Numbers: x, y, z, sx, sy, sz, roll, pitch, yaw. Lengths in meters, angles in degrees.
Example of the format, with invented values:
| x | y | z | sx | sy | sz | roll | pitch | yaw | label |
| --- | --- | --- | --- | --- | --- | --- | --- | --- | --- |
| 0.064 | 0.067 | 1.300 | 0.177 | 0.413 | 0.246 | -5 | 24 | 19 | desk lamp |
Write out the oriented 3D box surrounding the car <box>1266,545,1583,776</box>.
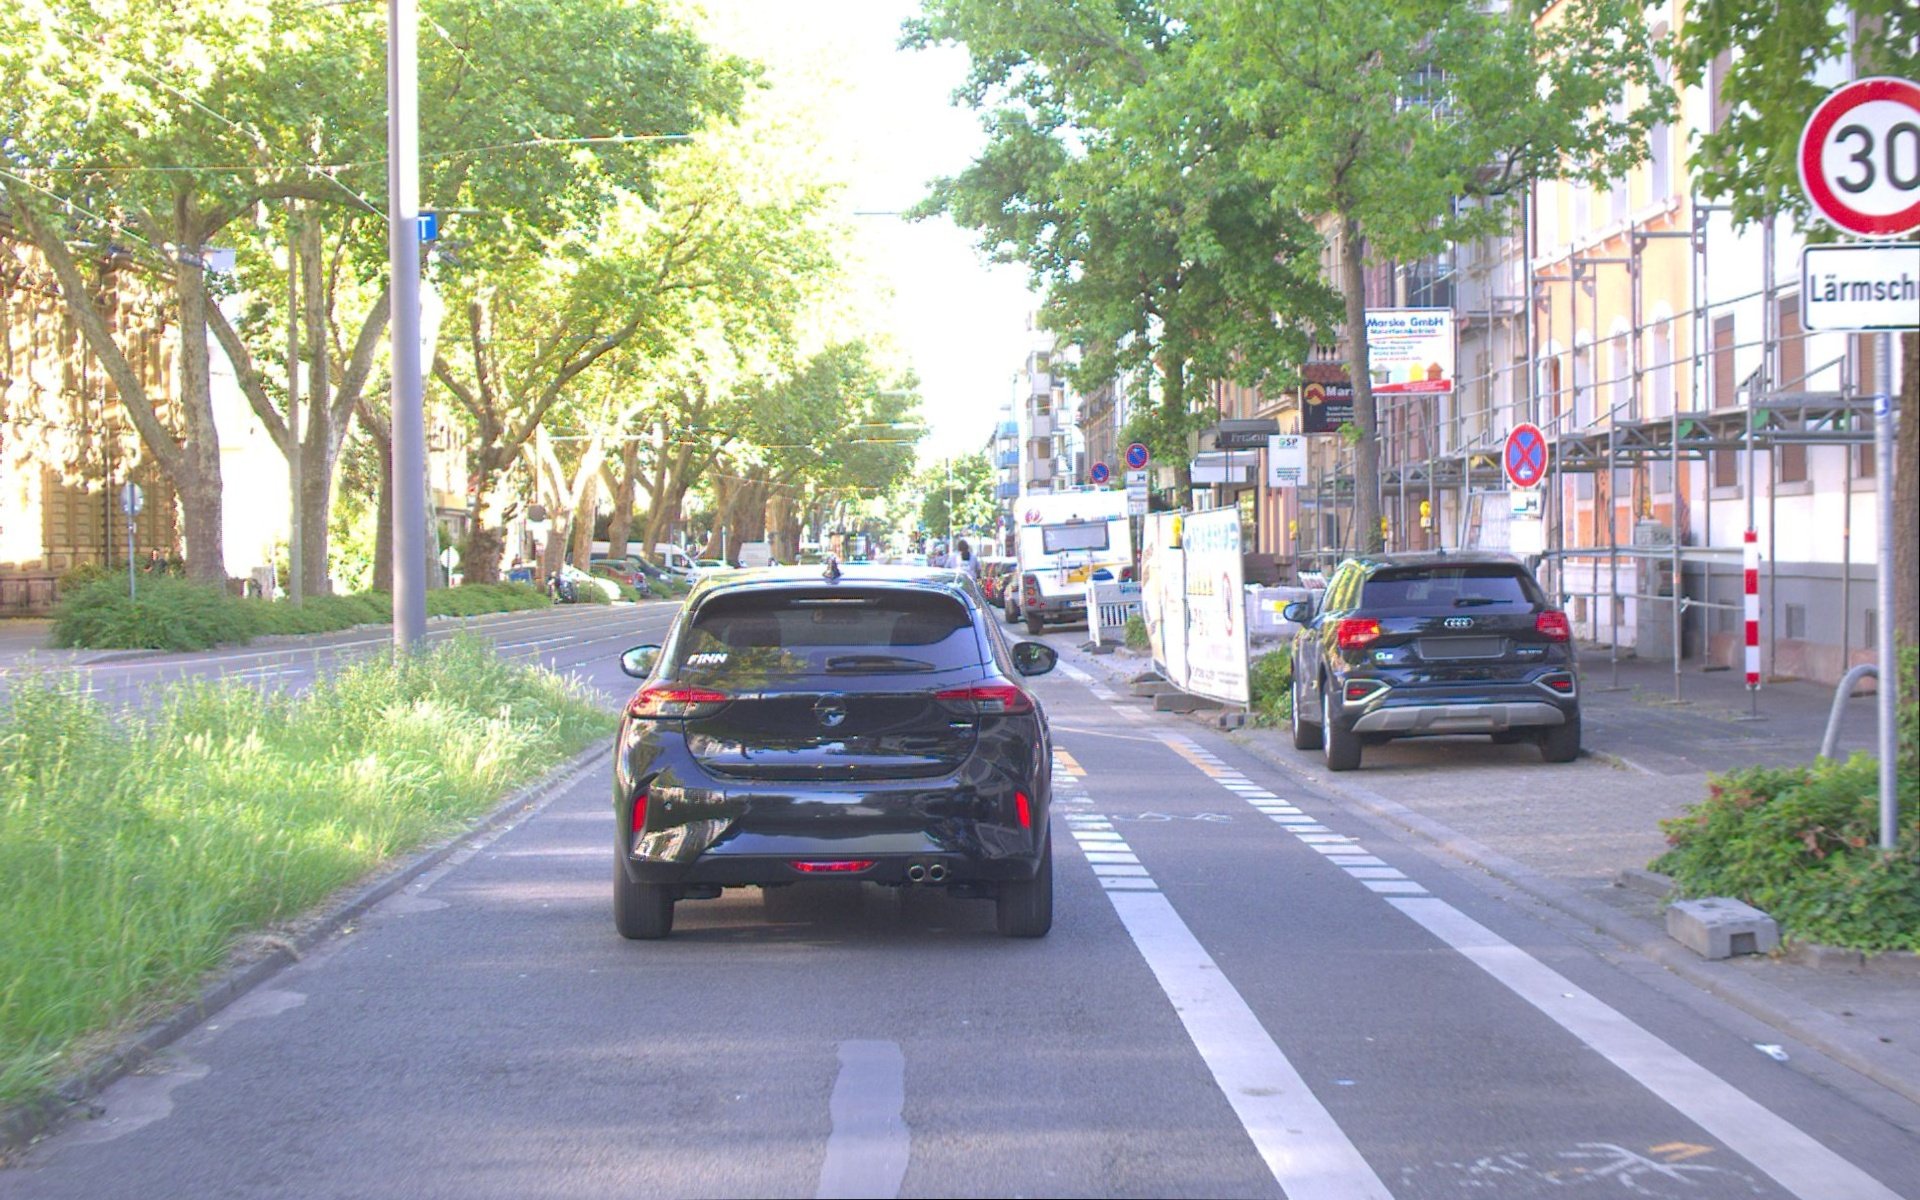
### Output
| x | y | z | sx | sy | sz | roll | pitch | yaw | label |
| --- | --- | --- | --- | --- | --- | --- | --- | --- | --- |
| 3.340 | 0.385 | 25.381 | 1.790 | 1.505 | 3.874 | -2 | 1 | 0 | car |

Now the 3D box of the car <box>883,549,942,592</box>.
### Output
| x | y | z | sx | sy | sz | roll | pitch | yaw | label |
| --- | --- | --- | --- | --- | --- | --- | --- | --- | --- |
| -1.631 | -1.024 | 118.811 | 1.905 | 1.420 | 4.215 | 0 | 1 | 1 | car |

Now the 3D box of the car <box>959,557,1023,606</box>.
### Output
| x | y | z | sx | sy | sz | roll | pitch | yaw | label |
| --- | --- | --- | --- | --- | --- | --- | --- | --- | --- |
| 0.964 | -0.570 | 105.258 | 1.905 | 1.420 | 4.215 | 0 | 1 | 1 | car |

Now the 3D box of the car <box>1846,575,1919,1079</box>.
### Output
| x | y | z | sx | sy | sz | roll | pitch | yaw | label |
| --- | --- | --- | --- | --- | --- | --- | --- | --- | --- |
| 3.599 | 0.659 | 8.363 | 1.685 | 1.415 | 4.049 | -1 | 1 | -2 | car |

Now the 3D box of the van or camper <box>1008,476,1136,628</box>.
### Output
| x | y | z | sx | sy | sz | roll | pitch | yaw | label |
| --- | --- | --- | --- | --- | --- | --- | --- | --- | --- |
| 2.299 | -1.005 | 71.732 | 2.486 | 2.983 | 5.434 | 2 | 1 | 1 | van or camper |

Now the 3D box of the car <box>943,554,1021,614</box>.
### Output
| x | y | z | sx | sy | sz | roll | pitch | yaw | label |
| --- | --- | --- | --- | --- | --- | --- | --- | --- | --- |
| 0.582 | -0.425 | 86.179 | 1.905 | 1.420 | 4.215 | 0 | 1 | 1 | car |

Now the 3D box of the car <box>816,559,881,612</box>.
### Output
| x | y | z | sx | sy | sz | roll | pitch | yaw | label |
| --- | --- | --- | --- | --- | --- | --- | --- | --- | --- |
| -3.378 | -0.458 | 104.536 | 1.790 | 1.505 | 3.874 | -2 | 1 | 0 | car |

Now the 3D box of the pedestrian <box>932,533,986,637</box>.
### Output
| x | y | z | sx | sy | sz | roll | pitch | yaw | label |
| --- | --- | --- | --- | --- | --- | --- | --- | --- | --- |
| -0.018 | -0.305 | 67.770 | 1.036 | 2.017 | 1.212 | 0 | 1 | -1 | pedestrian |

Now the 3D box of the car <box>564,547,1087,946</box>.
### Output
| x | y | z | sx | sy | sz | roll | pitch | yaw | label |
| --- | --- | --- | --- | --- | --- | --- | --- | --- | --- |
| -0.459 | 0.505 | 14.687 | 1.905 | 1.420 | 4.215 | 0 | 1 | 1 | car |

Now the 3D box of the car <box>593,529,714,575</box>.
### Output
| x | y | z | sx | sy | sz | roll | pitch | yaw | label |
| --- | --- | --- | --- | --- | --- | --- | --- | --- | --- |
| -14.947 | -2.358 | 167.715 | 5.687 | 2.190 | 2.289 | 0 | 1 | 0 | car |

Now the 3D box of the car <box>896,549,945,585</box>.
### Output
| x | y | z | sx | sy | sz | roll | pitch | yaw | label |
| --- | --- | --- | --- | --- | --- | --- | --- | --- | --- |
| -1.597 | -1.351 | 140.218 | 1.905 | 1.420 | 4.215 | 0 | 1 | 1 | car |
